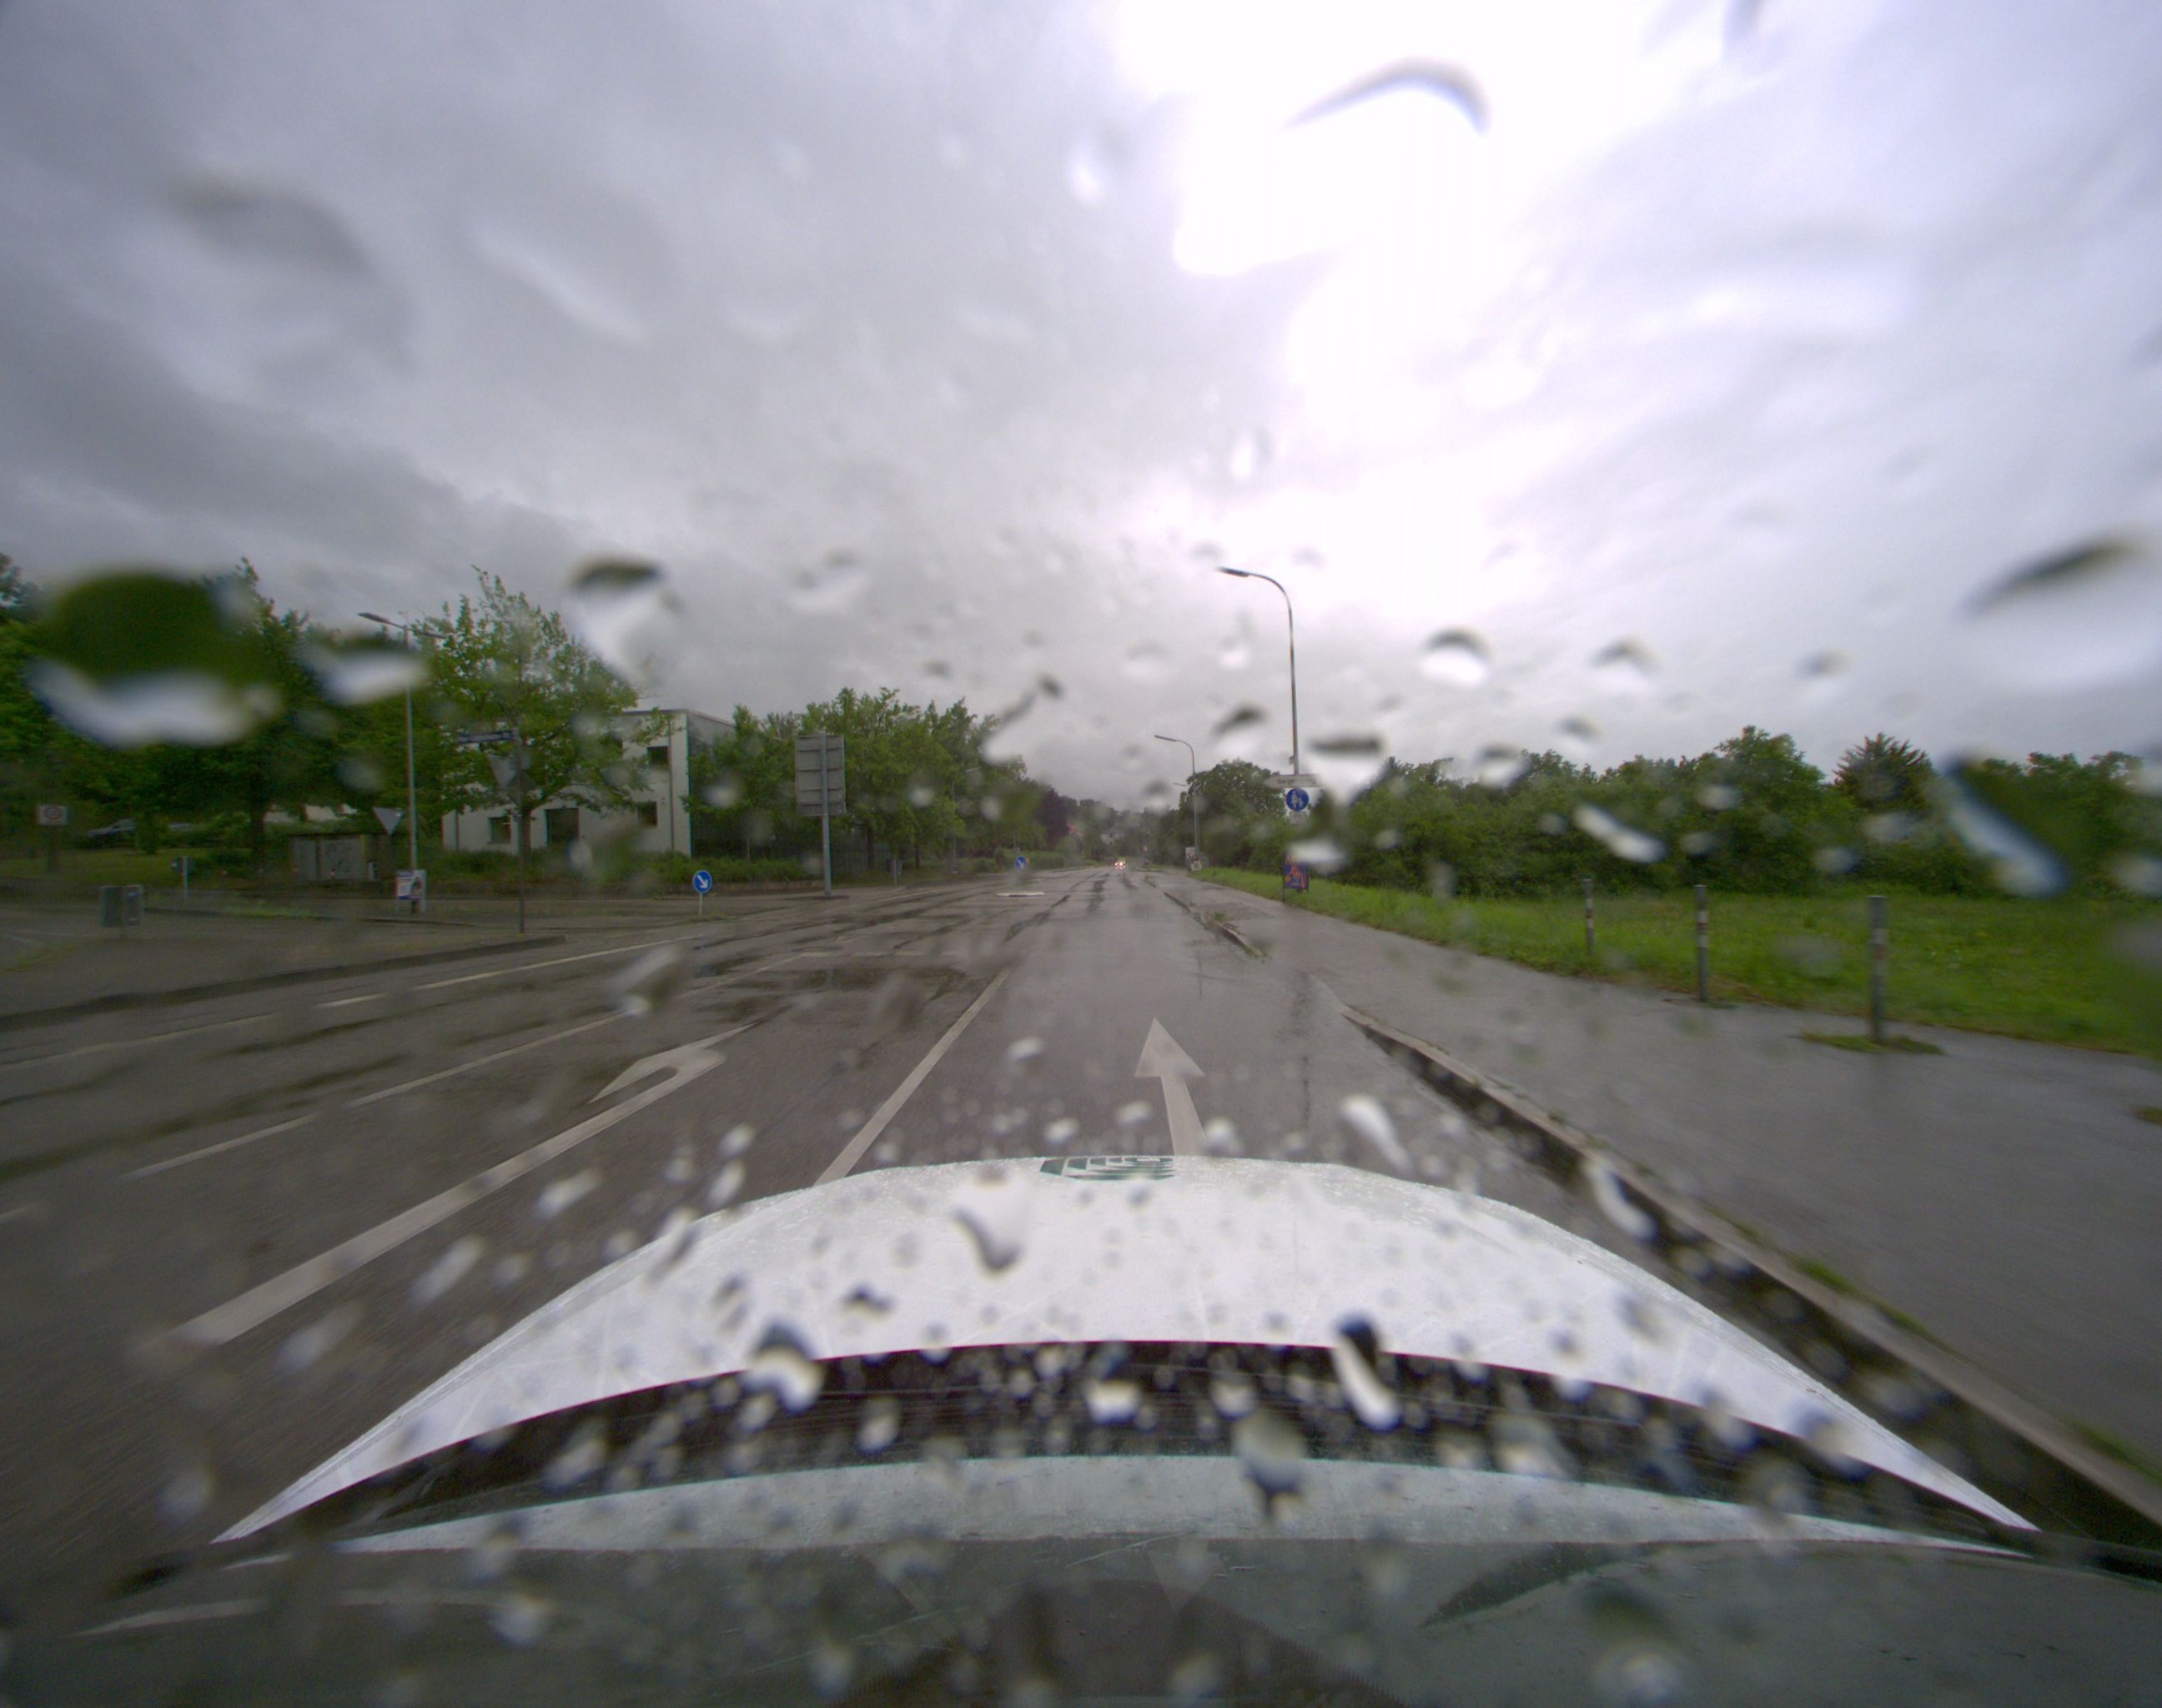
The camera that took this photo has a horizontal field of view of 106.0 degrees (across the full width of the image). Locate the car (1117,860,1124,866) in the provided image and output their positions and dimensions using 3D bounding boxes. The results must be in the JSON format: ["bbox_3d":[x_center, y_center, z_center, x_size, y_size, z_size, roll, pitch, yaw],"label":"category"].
[{"bbox_3d":[9.611,2.249,197.442,1.694,1.349,3.909,-1,-1,4],"label":"car"}]
